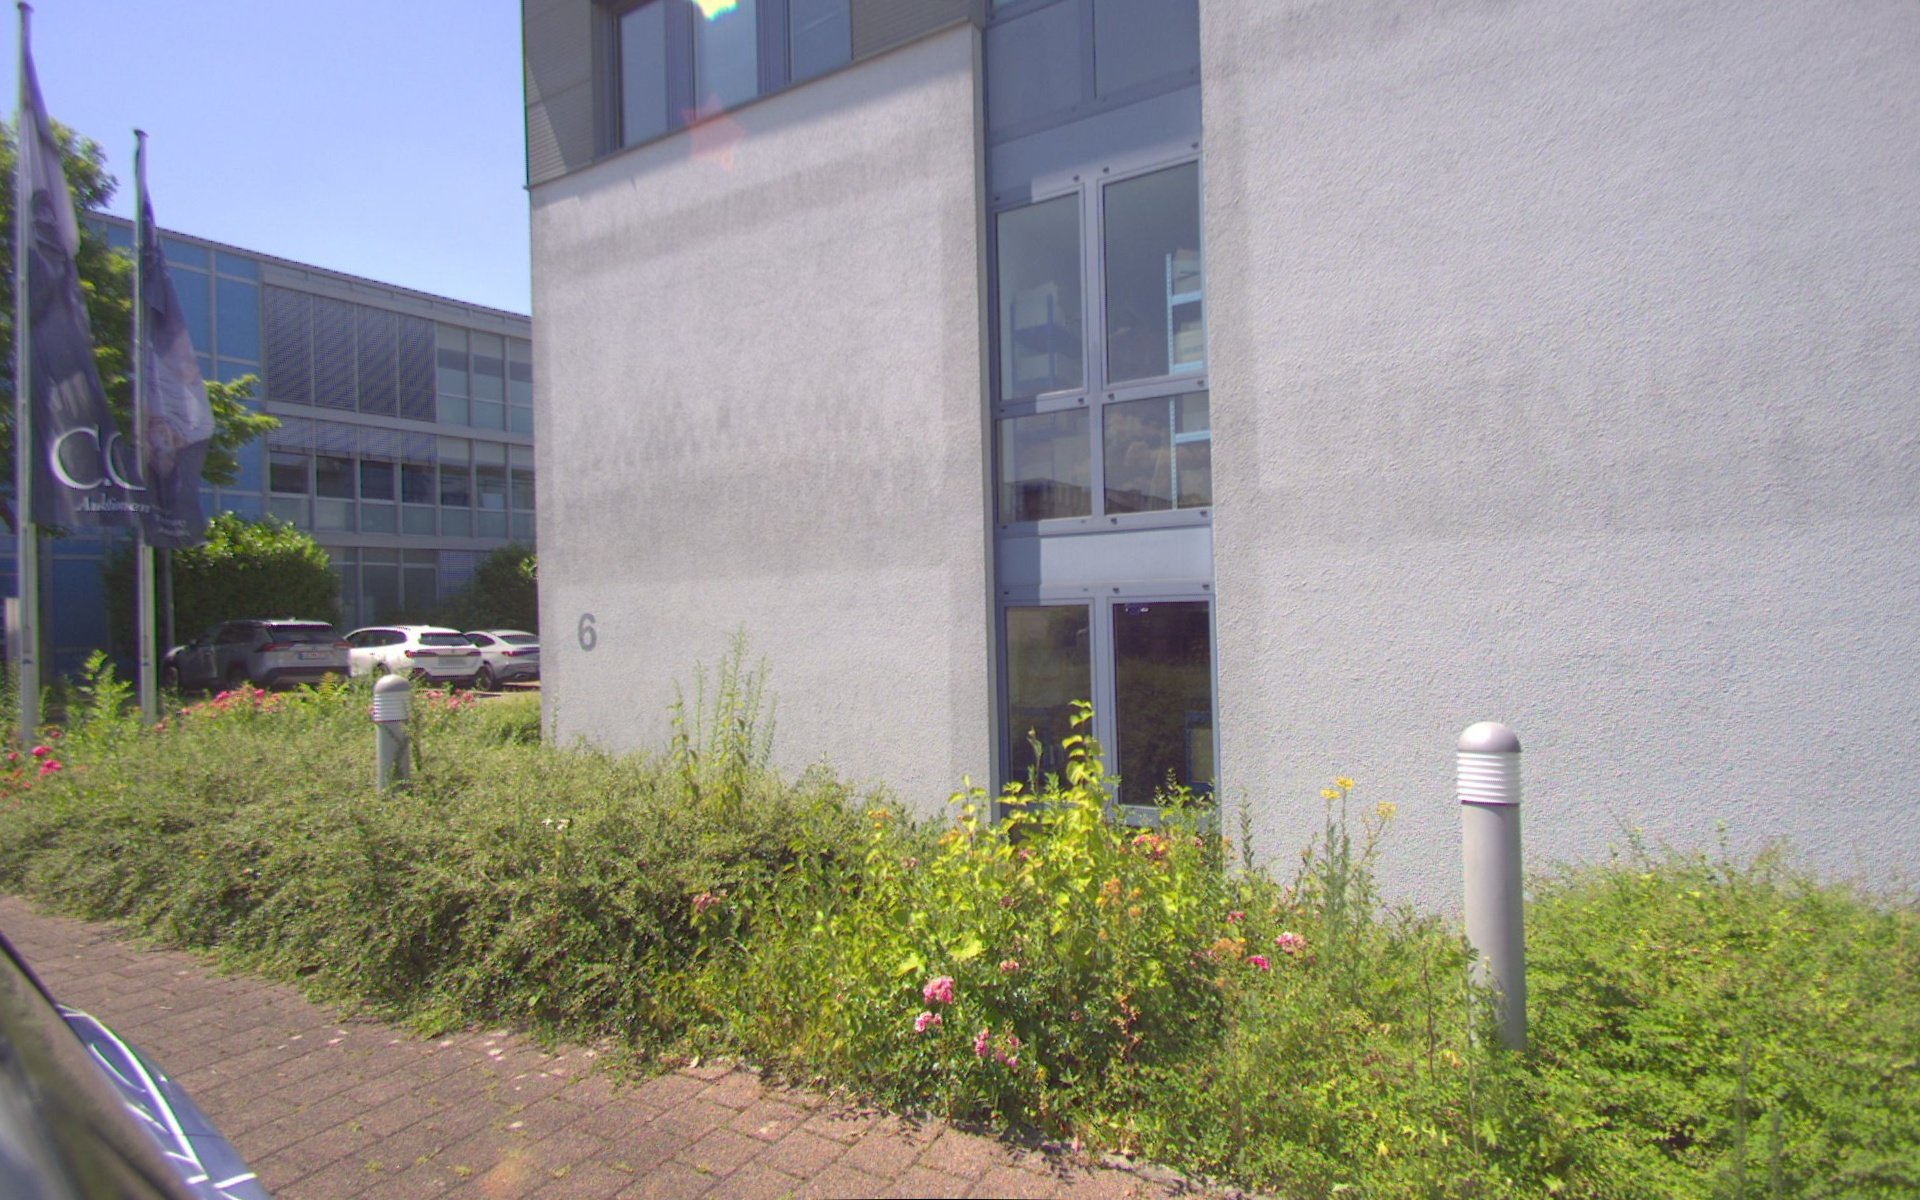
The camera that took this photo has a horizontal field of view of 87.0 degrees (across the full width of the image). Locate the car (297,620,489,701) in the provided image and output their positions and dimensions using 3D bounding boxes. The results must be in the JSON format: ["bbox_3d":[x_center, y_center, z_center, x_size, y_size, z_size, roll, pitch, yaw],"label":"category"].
[{"bbox_3d":[-12.612,1.299,22.478,4.153,1.650,1.815,-1,-2,29],"label":"car"}]

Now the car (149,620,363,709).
[{"bbox_3d":[-14.235,1.248,20.442,4.151,1.650,1.816,-1,-2,27],"label":"car"}]

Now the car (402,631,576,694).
[{"bbox_3d":[-11.447,1.468,24.551,4.153,1.411,1.735,-1,-2,29],"label":"car"}]
